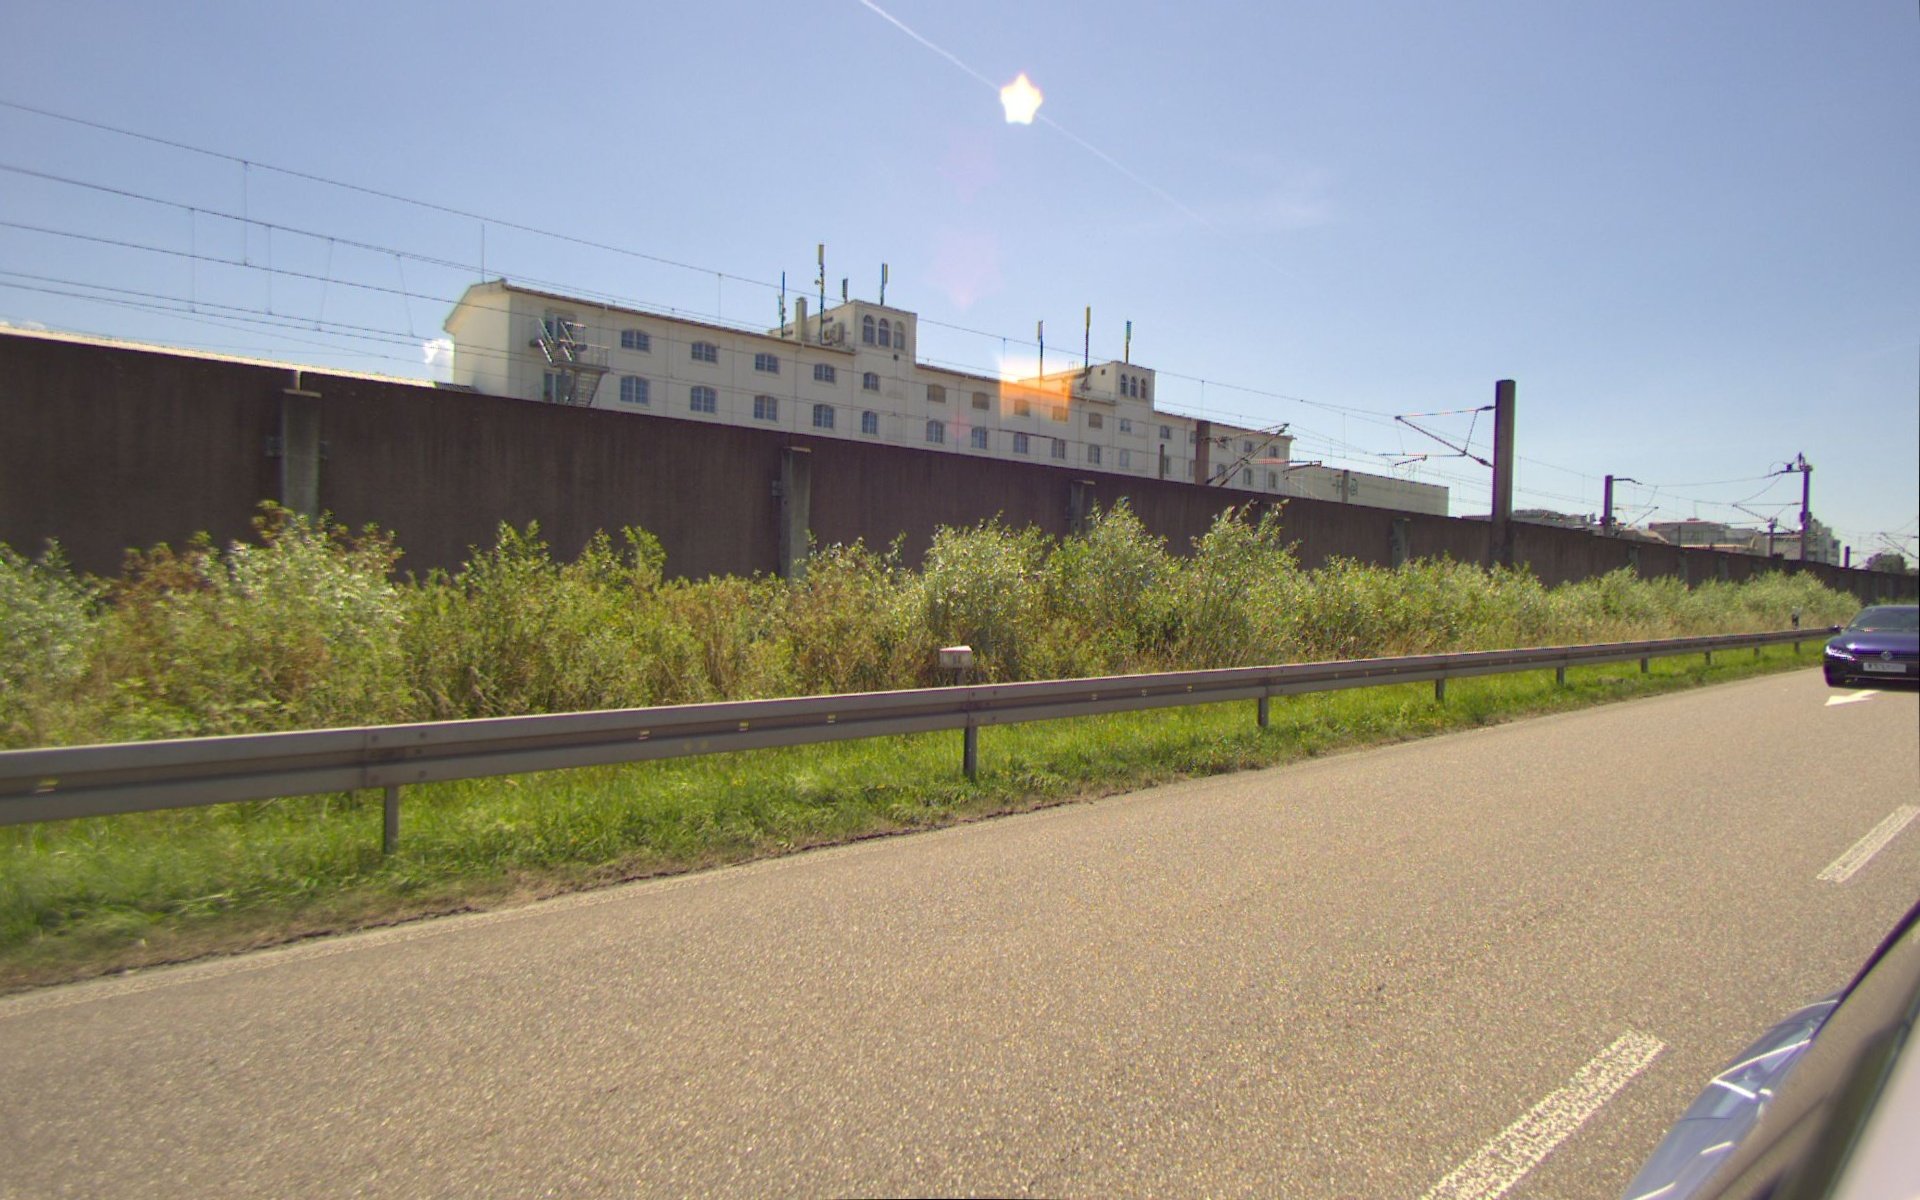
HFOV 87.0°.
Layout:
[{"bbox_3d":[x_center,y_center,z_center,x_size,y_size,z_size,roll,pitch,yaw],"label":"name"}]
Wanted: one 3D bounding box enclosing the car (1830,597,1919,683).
[{"bbox_3d":[17.229,0.649,18.062,4.422,1.397,1.860,0,0,-39],"label":"car"}]
